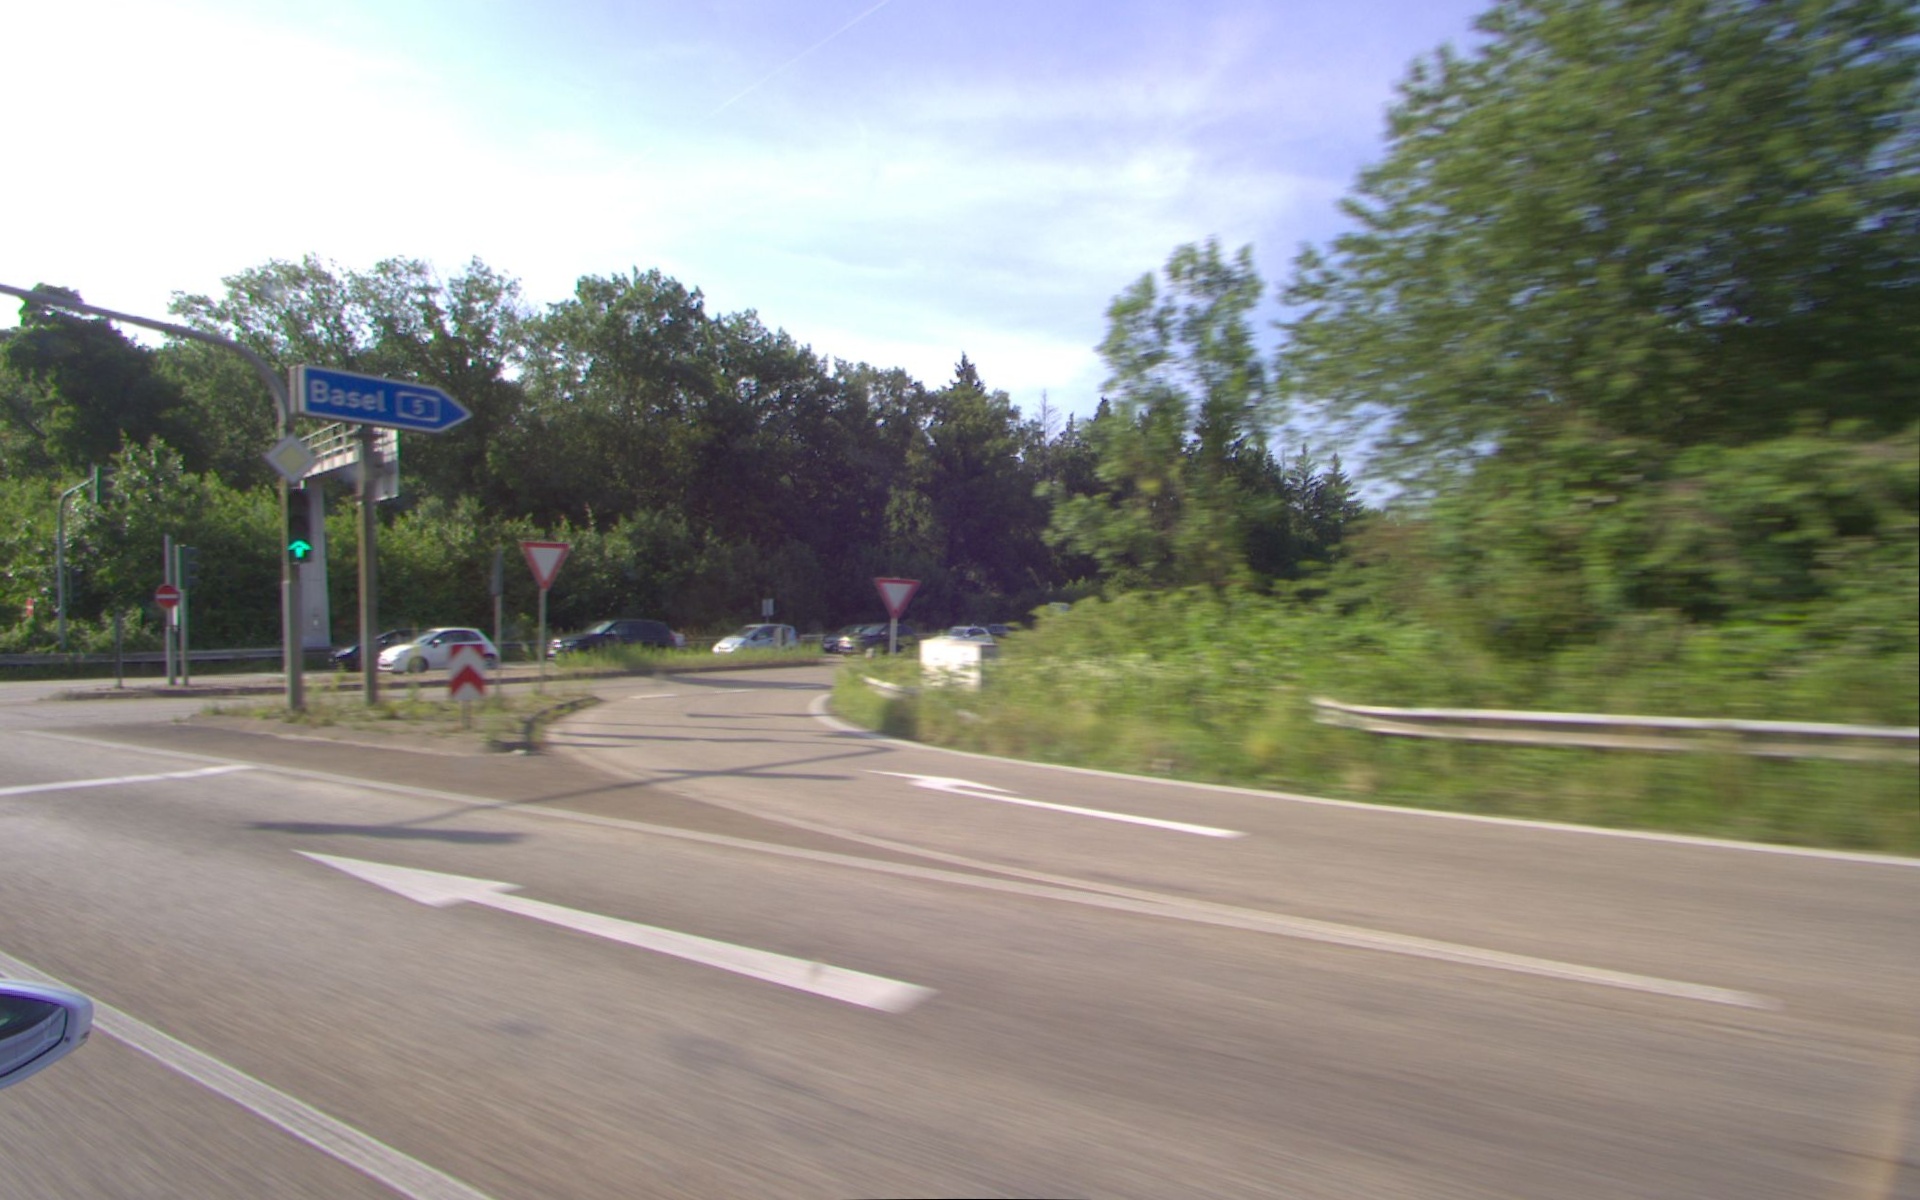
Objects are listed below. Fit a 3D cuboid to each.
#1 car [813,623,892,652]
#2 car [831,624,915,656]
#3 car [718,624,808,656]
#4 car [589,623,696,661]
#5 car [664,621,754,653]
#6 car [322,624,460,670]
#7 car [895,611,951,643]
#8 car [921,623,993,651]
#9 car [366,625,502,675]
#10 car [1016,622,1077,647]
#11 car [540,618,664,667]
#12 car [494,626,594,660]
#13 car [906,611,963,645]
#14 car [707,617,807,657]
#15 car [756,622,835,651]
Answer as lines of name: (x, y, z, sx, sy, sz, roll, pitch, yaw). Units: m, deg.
car: (-5.613, 1.937, 52.629, 1.845, 1.459, 4.096, -1, -1, 36)
car: (-4.170, 1.893, 48.480, 1.845, 1.459, 4.096, -1, -1, 36)
car: (-9.467, 1.906, 48.303, 1.845, 1.459, 4.096, -1, -1, 36)
car: (-13.501, 1.750, 42.815, 1.845, 1.515, 4.096, 0, -1, 36)
car: (-12.334, 1.797, 49.473, 1.845, 1.459, 4.096, -1, -1, 36)
car: (-20.157, 1.623, 35.547, 4.075, 1.515, 1.771, 1, -1, -39)
car: (-2.366, 1.767, 65.052, 1.573, 2.039, 3.976, -1, -2, 35)
car: (-0.145, 1.964, 54.104, 1.845, 1.459, 4.096, -1, -1, 36)
car: (-17.281, 1.592, 33.016, 1.785, 1.523, 3.586, 0, -1, 36)
car: (5.347, 2.081, 61.468, 1.845, 1.459, 4.096, -1, -1, 36)
car: (-13.371, 1.549, 37.592, 1.845, 1.731, 4.096, 0, -1, 36)
car: (-17.321, 1.768, 41.805, 1.472, 1.330, 3.614, 0, -1, 36)
car: (-1.558, 1.772, 62.979, 1.573, 2.039, 3.976, -1, -2, 35)
car: (-8.727, 1.551, 43.306, 1.845, 1.653, 4.096, 0, -1, 36)
car: (-8.898, 1.946, 54.432, 1.845, 1.459, 4.096, -1, -1, 36)
